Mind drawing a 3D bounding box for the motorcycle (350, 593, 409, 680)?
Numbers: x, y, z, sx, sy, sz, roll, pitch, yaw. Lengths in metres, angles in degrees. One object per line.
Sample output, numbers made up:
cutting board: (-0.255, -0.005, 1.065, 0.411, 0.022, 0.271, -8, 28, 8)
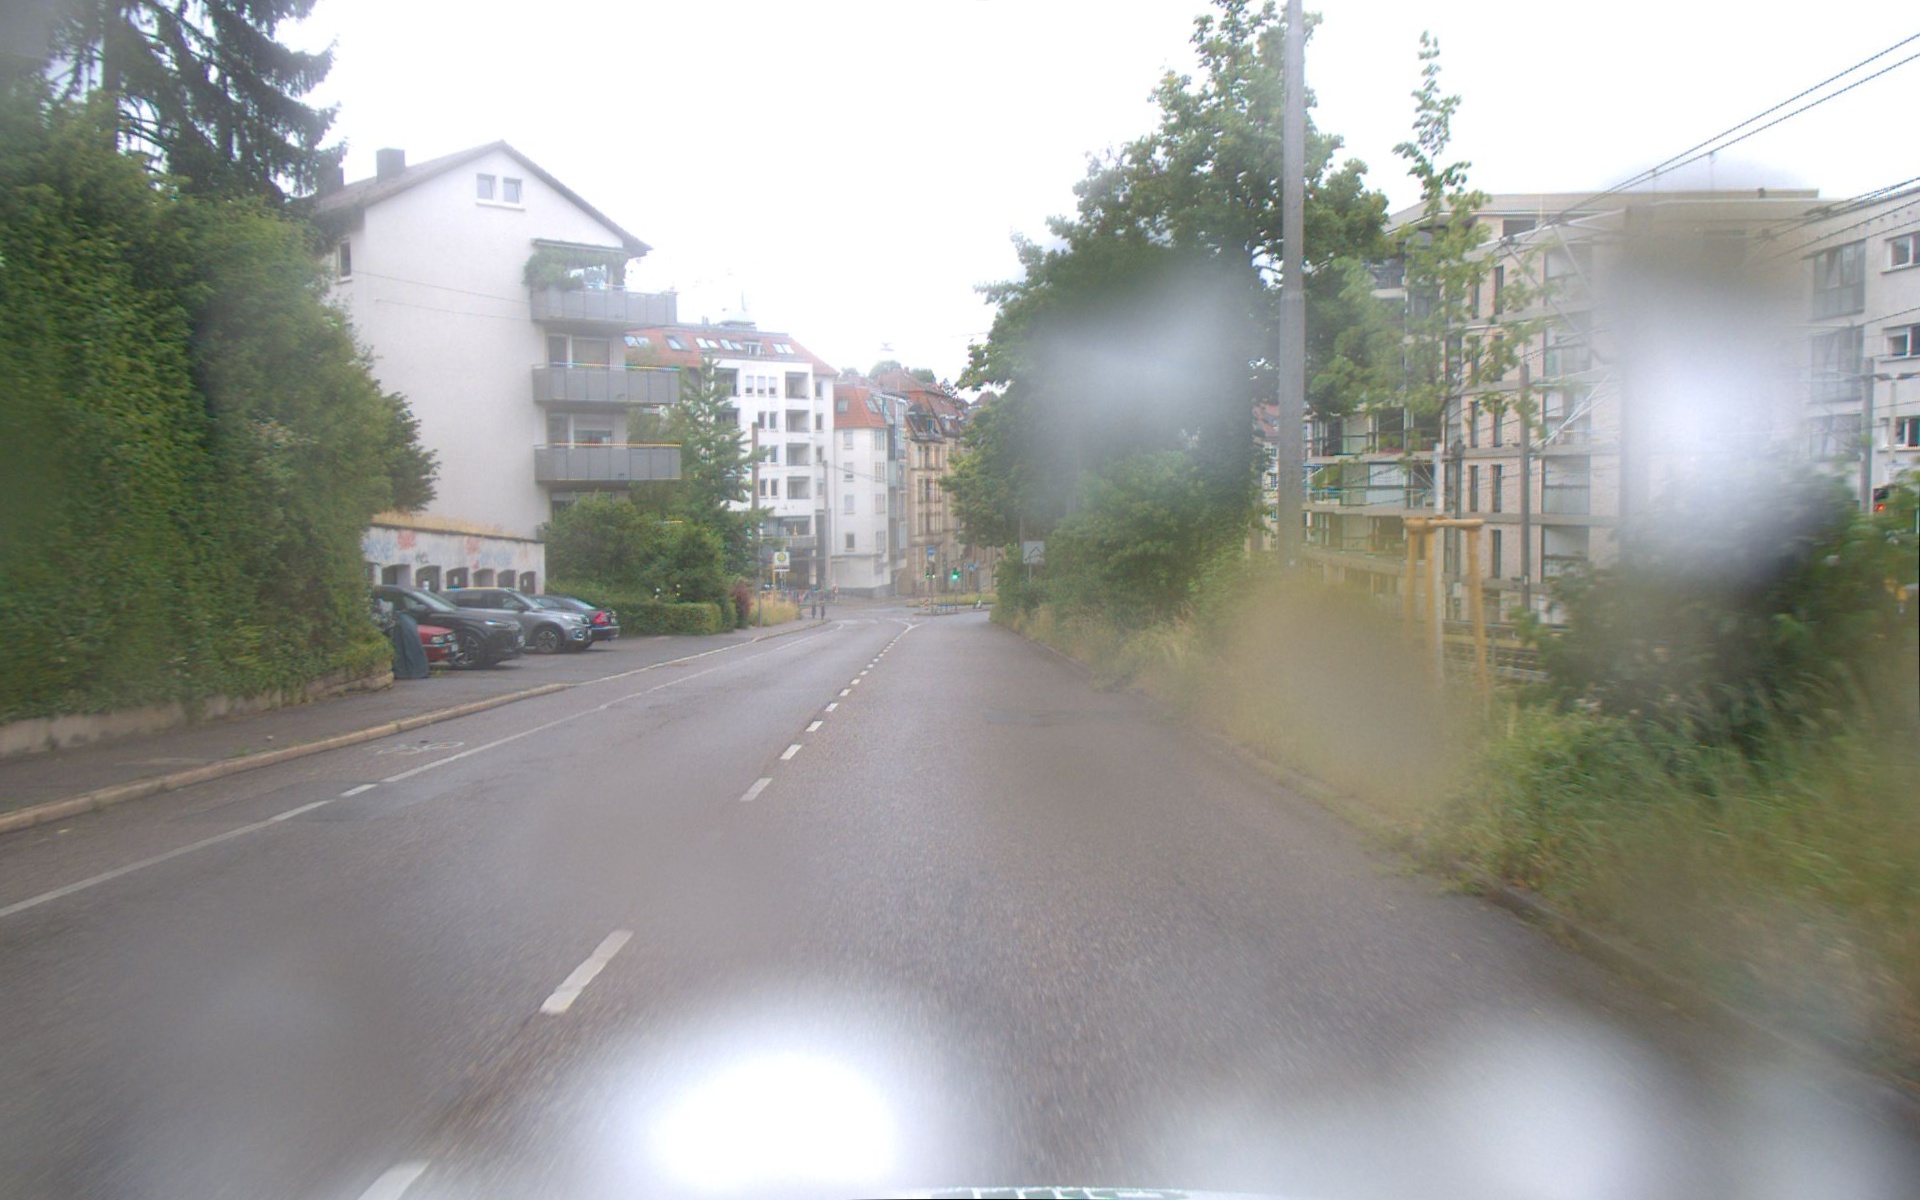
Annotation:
motorcycle: (-9.429, 0.576, 26.932, 0.606, 1.343, 2.313, 0, -1, -12)

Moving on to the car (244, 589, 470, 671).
car: (-10.939, 0.530, 30.224, 3.562, 1.430, 1.714, 0, 0, -7)

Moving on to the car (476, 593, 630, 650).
car: (-10.599, 0.557, 43.208, 3.556, 1.432, 1.784, 0, 0, 1)

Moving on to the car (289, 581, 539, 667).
car: (-10.803, 0.454, 32.961, 4.359, 1.630, 1.814, 0, 1, -2)

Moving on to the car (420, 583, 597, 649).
car: (-11.093, 0.389, 40.858, 3.909, 1.587, 1.878, 0, 0, -5)

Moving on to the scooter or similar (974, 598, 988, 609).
scooter or similar: (1.489, 0.230, 117.178, 0.475, 0.775, 1.328, -1, 0, 27)
